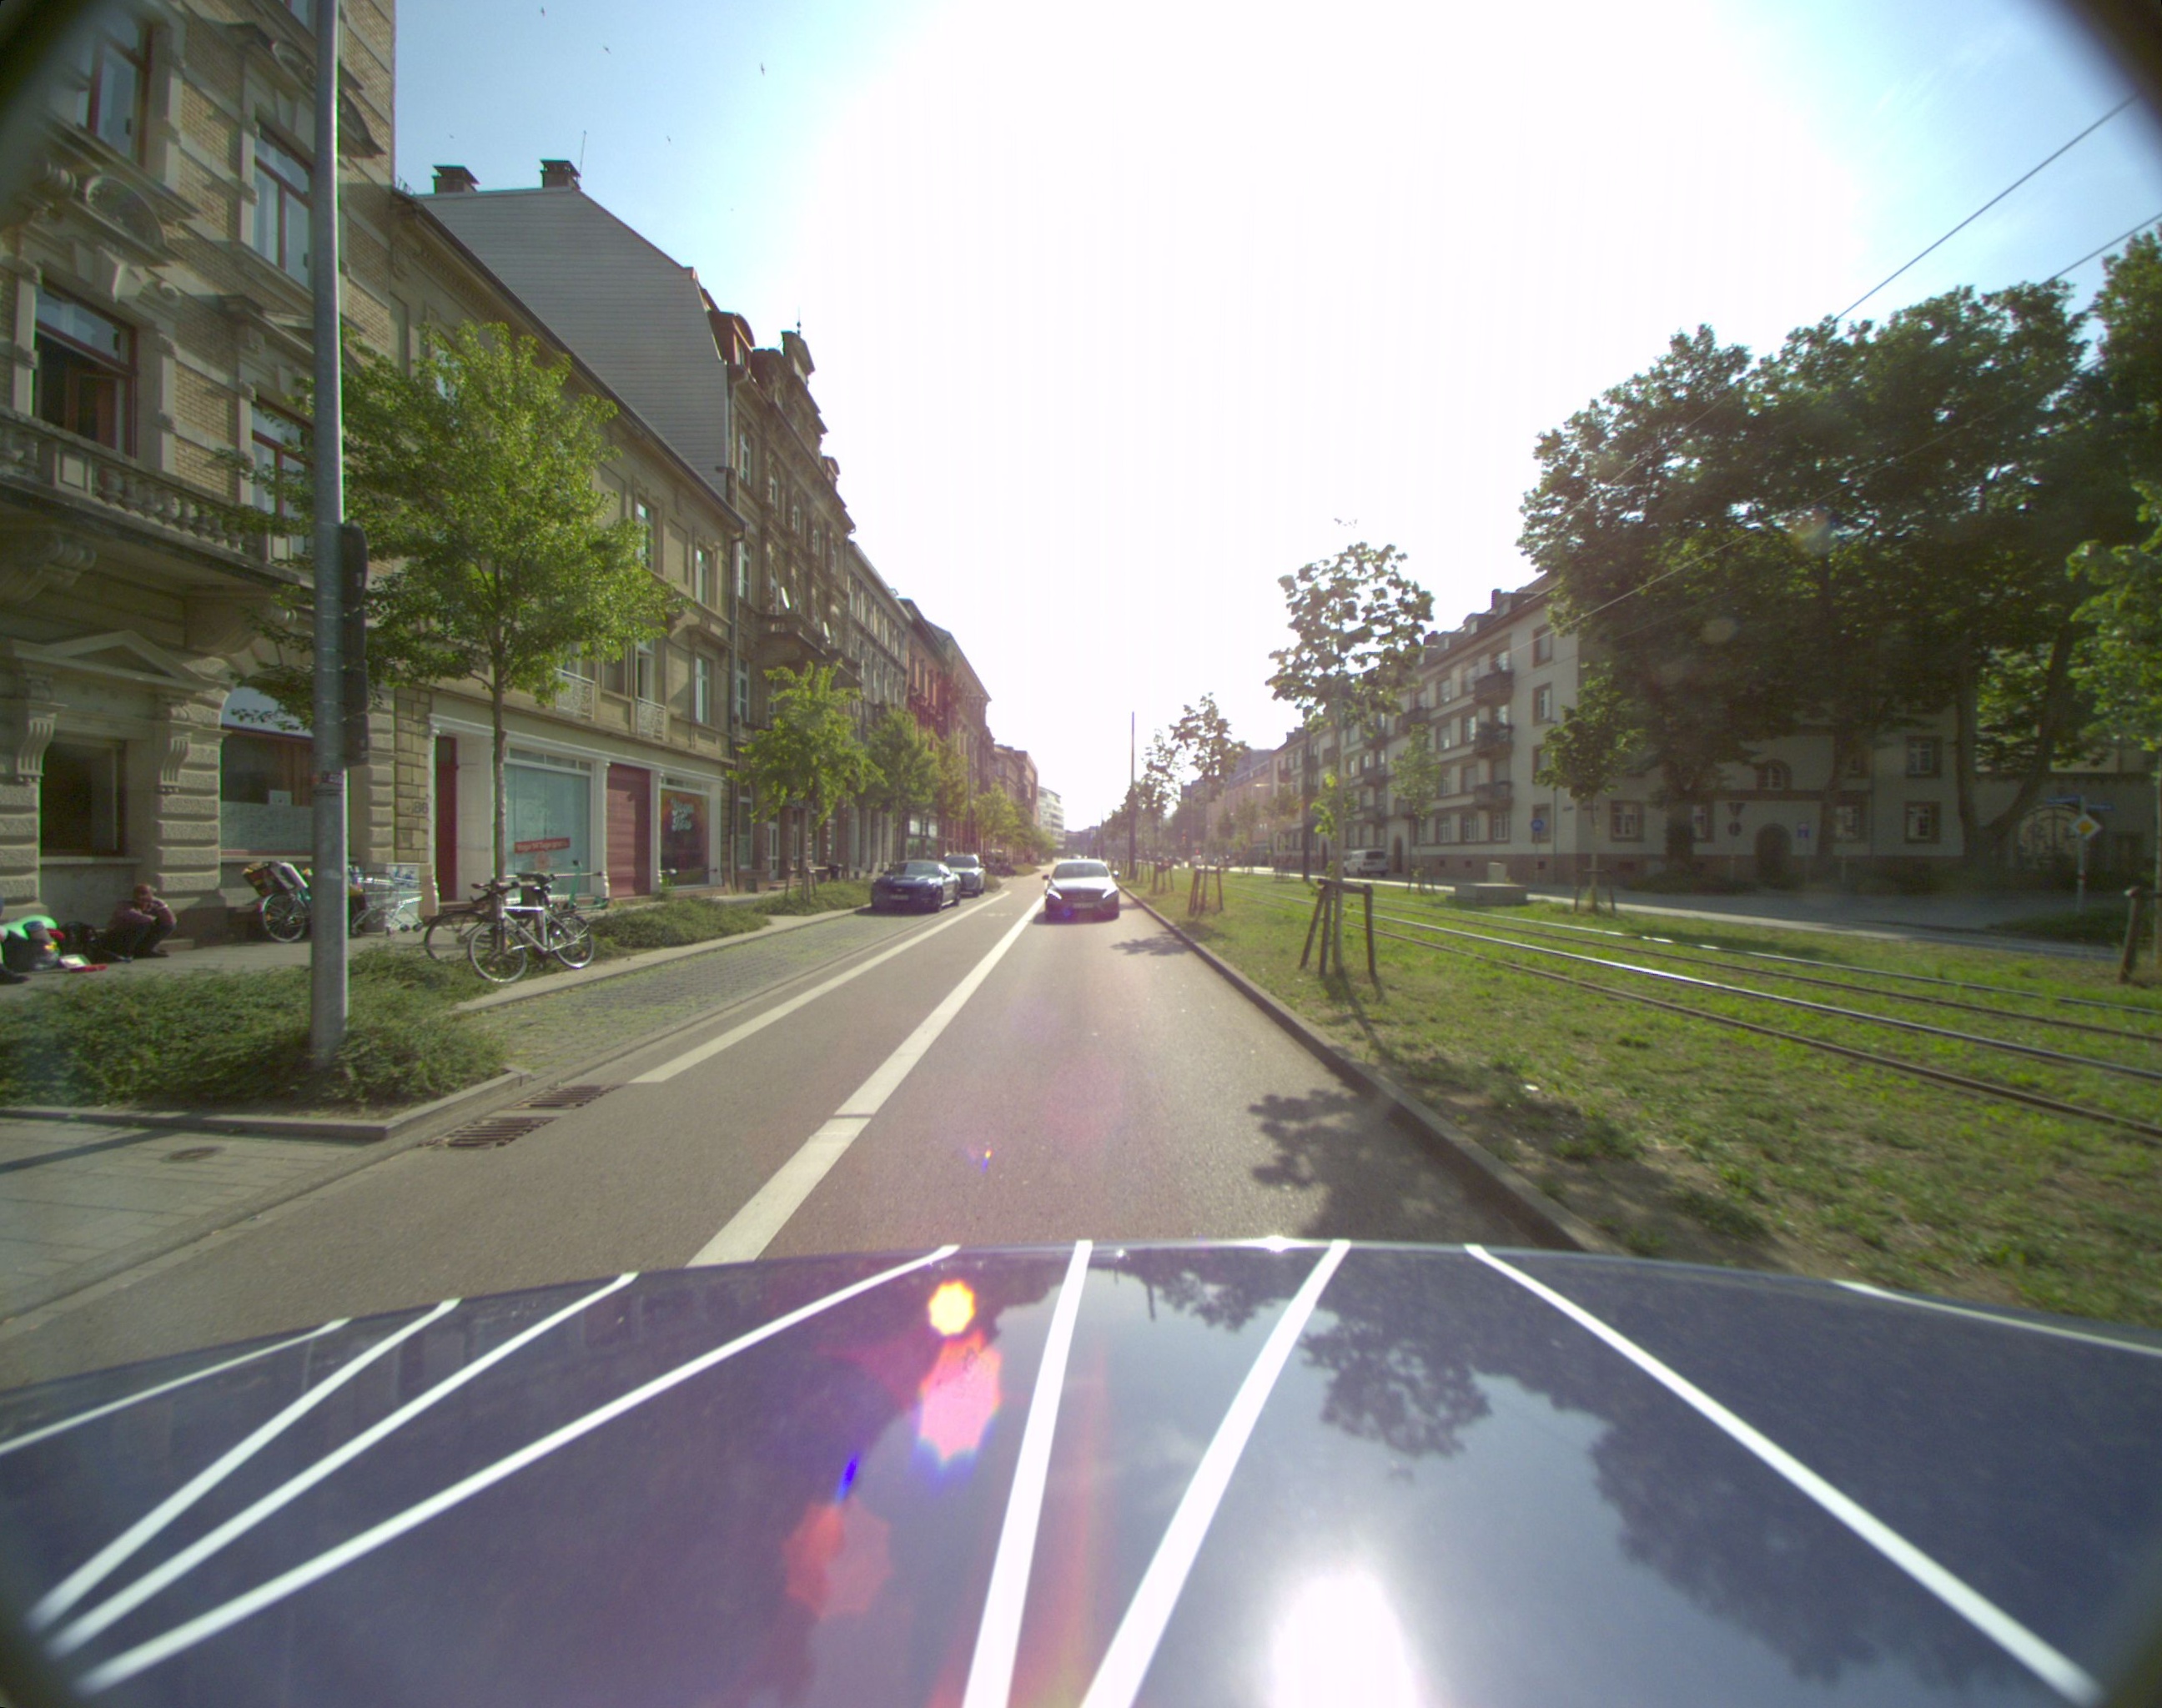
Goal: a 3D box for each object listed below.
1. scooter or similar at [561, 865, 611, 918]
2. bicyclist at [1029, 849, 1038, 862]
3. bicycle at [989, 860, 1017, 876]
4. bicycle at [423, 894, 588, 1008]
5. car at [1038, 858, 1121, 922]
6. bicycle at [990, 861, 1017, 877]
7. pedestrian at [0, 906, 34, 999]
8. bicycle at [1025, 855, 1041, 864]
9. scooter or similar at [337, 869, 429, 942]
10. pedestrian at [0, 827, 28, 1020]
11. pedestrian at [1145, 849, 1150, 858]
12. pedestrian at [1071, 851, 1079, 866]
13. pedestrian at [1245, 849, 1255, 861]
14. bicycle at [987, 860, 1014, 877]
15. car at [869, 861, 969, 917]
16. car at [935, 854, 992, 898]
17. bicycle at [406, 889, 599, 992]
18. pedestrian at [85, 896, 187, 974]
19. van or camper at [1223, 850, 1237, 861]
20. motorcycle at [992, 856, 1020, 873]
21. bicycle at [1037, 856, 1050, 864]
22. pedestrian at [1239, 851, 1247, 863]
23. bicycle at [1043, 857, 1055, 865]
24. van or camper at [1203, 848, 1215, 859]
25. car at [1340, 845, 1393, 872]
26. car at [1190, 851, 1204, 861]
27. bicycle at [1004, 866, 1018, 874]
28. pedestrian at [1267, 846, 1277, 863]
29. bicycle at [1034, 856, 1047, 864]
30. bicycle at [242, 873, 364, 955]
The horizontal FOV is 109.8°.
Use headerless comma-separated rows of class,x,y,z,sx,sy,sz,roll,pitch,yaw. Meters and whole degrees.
scooter or similar,-10.854,0.804,16.684,0.289,1.127,1.089,0,0,6
bicyclist,-5.486,0.167,87.757,0.929,1.473,0.586,2,1,21
bicycle,-5.242,0.948,51.159,1.789,1.048,0.373,2,0,-1
bicycle,-6.579,1.062,8.819,0.494,1.087,1.826,0,0,1
car,-0.040,0.845,19.750,1.907,1.384,4.235,-1,0,0
bicycle,-5.237,0.999,51.564,1.789,1.048,0.373,2,0,-1
pedestrian,-10.808,0.944,7.154,0.880,0.871,0.711,2,0,-3
bicycle,-5.505,0.623,87.692,1.780,0.947,0.508,2,0,21
scooter or similar,-11.291,0.819,12.320,0.608,1.118,0.931,0,0,1
pedestrian,-9.841,0.597,6.386,0.825,1.686,0.793,2,0,-4
pedestrian,13.616,-0.102,155.646,0.807,1.875,0.555,0,1,0
pedestrian,-0.715,0.585,91.617,0.992,1.795,0.864,1,-1,-1
pedestrian,25.055,0.123,112.542,1.073,1.857,0.862,-1,1,-27
bicycle,-5.612,1.001,52.854,1.812,1.089,0.671,2,0,-5
car,-4.581,0.936,22.197,1.740,1.388,4.715,1,0,2
car,-4.536,0.808,29.850,1.774,1.579,4.246,1,0,-3
bicycle,-7.319,1.052,9.711,0.453,1.076,1.881,2,3,42
pedestrian,-10.986,0.934,8.847,0.572,0.850,0.457,2,0,-5
van or camper,26.186,0.273,133.655,1.934,1.956,4.001,0,0,5
motorcycle,-5.622,0.797,56.980,2.046,1.279,0.703,2,0,-35
bicycle,-5.431,0.883,110.212,1.756,1.081,0.583,2,0,4
pedestrian,21.842,0.363,102.395,0.807,1.574,0.680,0,1,-2
bicycle,-4.916,1.039,116.379,1.761,1.081,0.610,3,0,-9
van or camper,30.782,-0.153,183.146,1.998,2.786,5.353,0,0,1
car,21.262,0.314,56.830,1.998,1.907,5.153,-2,0,1
car,21.772,0.307,142.358,1.998,1.884,5.047,0,0,2
bicycle,-5.152,1.179,55.883,0.960,0.606,0.360,2,1,2
pedestrian,23.933,0.035,95.208,0.844,2.056,1.157,-1,1,1
bicycle,-6.030,0.877,113.577,1.763,1.081,0.671,3,0,-22
bicycle,-11.294,0.833,11.086,0.452,1.077,1.447,0,0,-9
